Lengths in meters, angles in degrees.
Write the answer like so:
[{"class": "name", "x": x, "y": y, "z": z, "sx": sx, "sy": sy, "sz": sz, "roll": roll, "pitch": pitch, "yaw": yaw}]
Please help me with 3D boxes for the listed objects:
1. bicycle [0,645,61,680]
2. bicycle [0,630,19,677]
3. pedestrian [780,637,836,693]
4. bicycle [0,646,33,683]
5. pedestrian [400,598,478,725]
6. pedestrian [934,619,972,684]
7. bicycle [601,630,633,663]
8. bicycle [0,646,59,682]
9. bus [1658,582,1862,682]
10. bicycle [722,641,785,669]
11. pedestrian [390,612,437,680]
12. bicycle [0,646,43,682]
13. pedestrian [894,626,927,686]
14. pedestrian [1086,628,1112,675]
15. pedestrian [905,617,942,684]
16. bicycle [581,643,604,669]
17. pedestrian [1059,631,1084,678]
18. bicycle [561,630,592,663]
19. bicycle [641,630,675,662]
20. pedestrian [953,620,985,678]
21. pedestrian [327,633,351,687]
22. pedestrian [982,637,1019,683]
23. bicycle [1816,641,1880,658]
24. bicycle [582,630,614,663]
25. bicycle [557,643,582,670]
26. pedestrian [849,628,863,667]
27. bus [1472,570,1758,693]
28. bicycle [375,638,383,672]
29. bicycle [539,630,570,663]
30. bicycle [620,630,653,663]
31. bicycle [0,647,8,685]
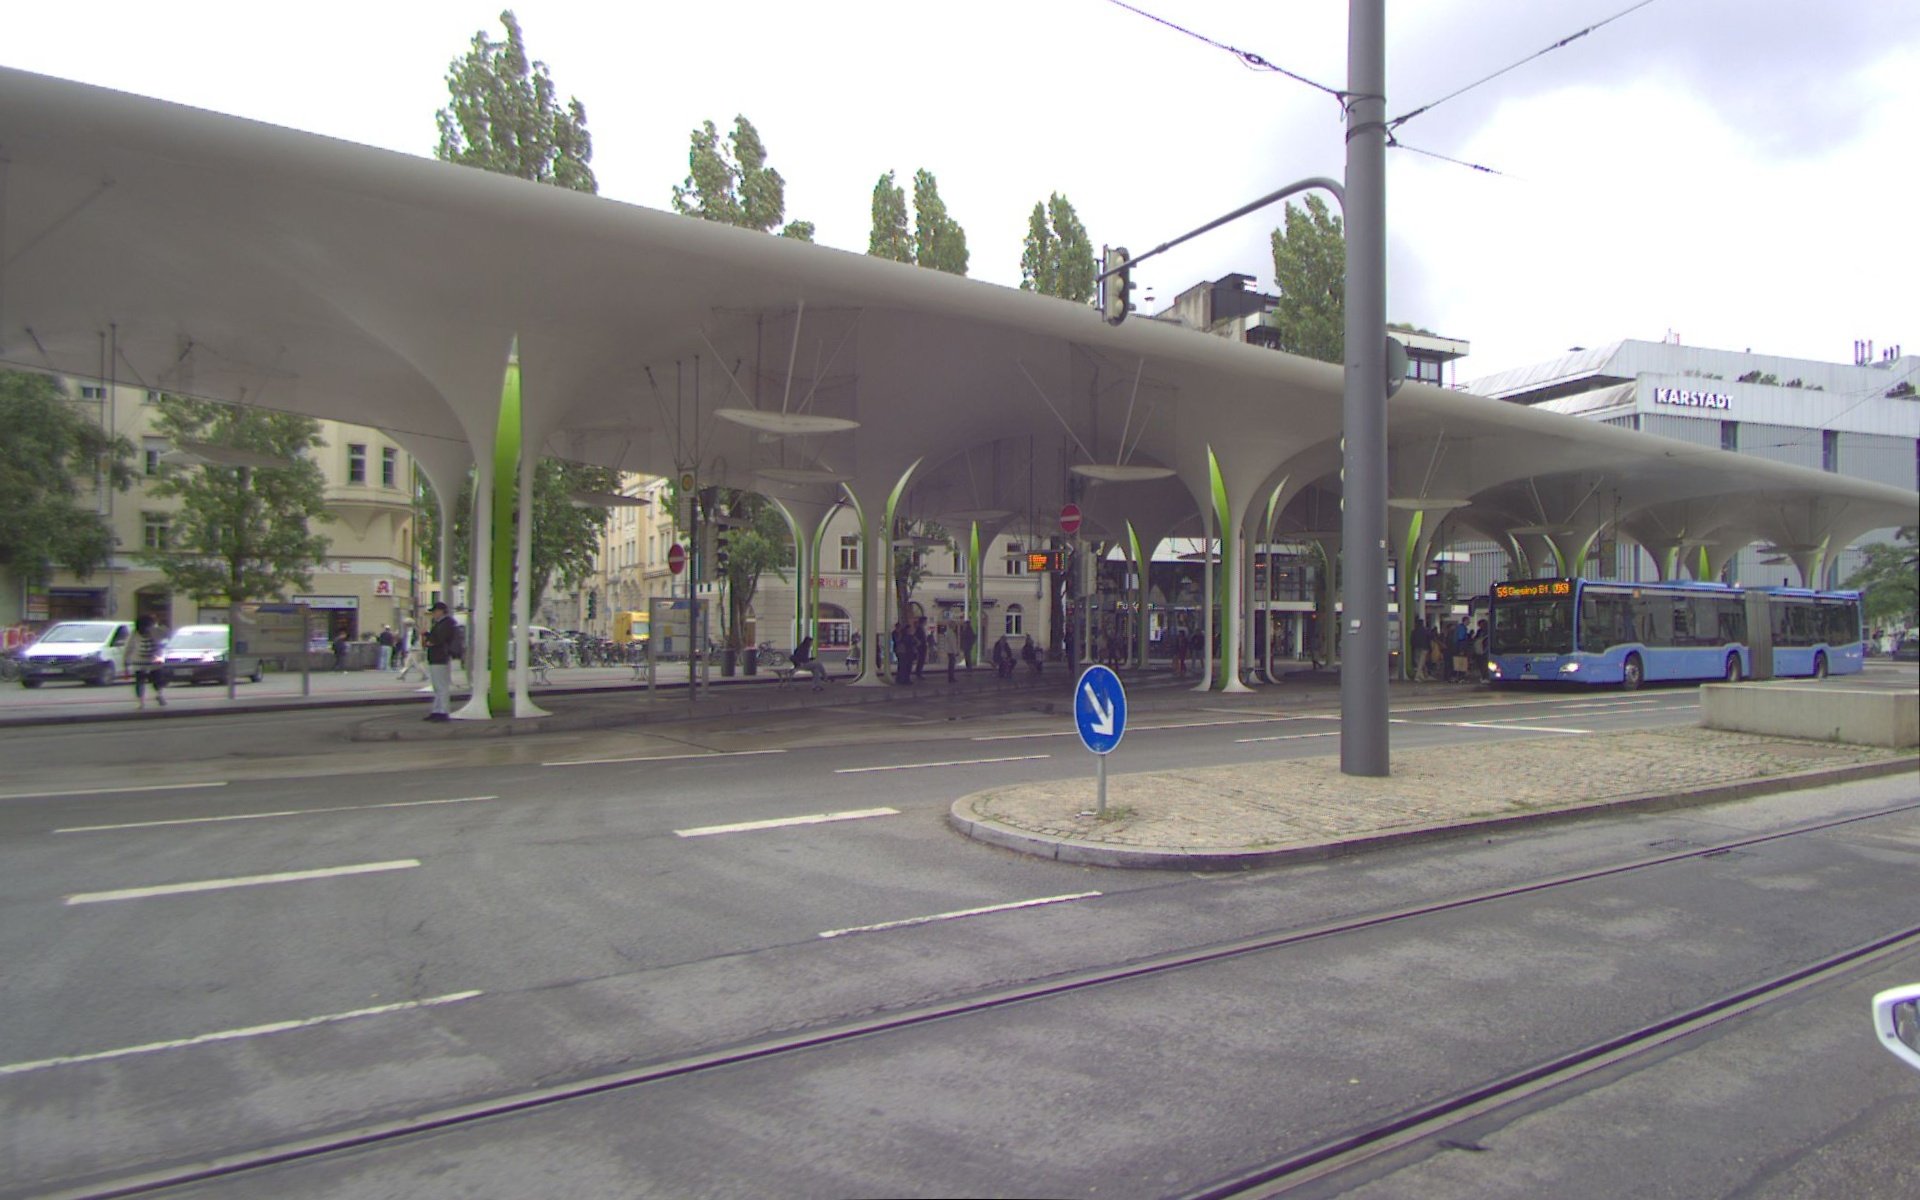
[{"class": "bicycle", "x": -32.193, "y": 2.108, "z": 33.998, "sx": 2.494, "sy": 1.145, "sz": 0.639, "roll": 1, "pitch": -1, "yaw": -30}, {"class": "bicycle", "x": -30.603, "y": 1.650, "z": 30.726, "sx": 2.533, "sy": 1.440, "sz": 0.631, "roll": 1, "pitch": -1, "yaw": -30}, {"class": "pedestrian", "x": -3.552, "y": 1.500, "z": 23.385, "sx": 1.248, "sy": 1.246, "sz": 0.811, "roll": 1, "pitch": -1, "yaw": -11}, {"class": "bicycle", "x": -30.800, "y": 2.024, "z": 31.436, "sx": 2.494, "sy": 1.145, "sz": 0.639, "roll": 1, "pitch": -1, "yaw": -30}, {"class": "pedestrian", "x": -7.883, "y": 0.911, "z": 15.206, "sx": 0.654, "sy": 1.863, "sz": 0.809, "roll": 0, "pitch": -1, "yaw": 31}, {"class": "pedestrian", "x": -0.179, "y": 1.398, "z": 27.383, "sx": 0.799, "sy": 1.750, "sz": 0.668, "roll": -1, "pitch": -2, "yaw": 44}, {"class": "bicycle", "x": -18.146, "y": 2.435, "z": 53.085, "sx": 0.989, "sy": 1.634, "sz": 3.598, "roll": 1, "pitch": -2, "yaw": -29}, {"class": "bicycle", "x": -31.506, "y": 2.107, "z": 33.164, "sx": 2.494, "sy": 1.145, "sz": 0.639, "roll": 1, "pitch": -2, "yaw": -30}, {"class": "bus", "x": 26.711, "y": 1.099, "z": 33.469, "sx": 7.422, "sy": 3.046, "sz": 2.649, "roll": 1, "pitch": -3, "yaw": -29}, {"class": "bicycle", "x": -9.838, "y": 2.621, "z": 47.974, "sx": 2.886, "sy": 1.331, "sz": 0.841, "roll": 0, "pitch": -1, "yaw": -6}, {"class": "pedestrian", "x": -16.603, "y": 1.387, "z": 30.530, "sx": 1.010, "sy": 2.040, "sz": 1.002, "roll": 1, "pitch": -1, "yaw": -14}, {"class": "bicycle", "x": -31.119, "y": 2.052, "z": 32.171, "sx": 2.494, "sy": 1.145, "sz": 0.639, "roll": 1, "pitch": -2, "yaw": -30}, {"class": "pedestrian", "x": -1.319, "y": 1.469, "z": 26.682, "sx": 0.586, "sy": 1.565, "sz": 0.634, "roll": -1, "pitch": -2, "yaw": 43}, {"class": "pedestrian", "x": 4.887, "y": 1.812, "z": 35.280, "sx": 0.690, "sy": 1.639, "sz": 0.644, "roll": 1, "pitch": -2, "yaw": -26}, {"class": "pedestrian", "x": -1.064, "y": 1.446, "z": 29.118, "sx": 0.701, "sy": 1.897, "sz": 0.876, "roll": 0, "pitch": -1, "yaw": 33}, {"class": "bicycle", "x": -17.344, "y": 2.646, "z": 47.418, "sx": 0.726, "sy": 1.149, "sz": 2.677, "roll": 1, "pitch": -1, "yaw": -14}, {"class": "pedestrian", "x": 3.829, "y": 1.868, "z": 34.430, "sx": 0.652, "sy": 1.585, "sz": 0.640, "roll": -1, "pitch": -2, "yaw": 35}, {"class": "bicycle", "x": -19.922, "y": 2.398, "z": 52.179, "sx": 0.989, "sy": 1.634, "sz": 3.598, "roll": 1, "pitch": -2, "yaw": -29}, {"class": "bicycle", "x": -16.310, "y": 2.472, "z": 54.120, "sx": 0.989, "sy": 1.634, "sz": 3.598, "roll": 1, "pitch": -2, "yaw": -29}, {"class": "pedestrian", "x": 0.276, "y": 1.569, "z": 32.278, "sx": 0.772, "sy": 1.812, "sz": 0.760, "roll": 1, "pitch": -1, "yaw": -27}, {"class": "pedestrian", "x": -23.714, "y": 2.279, "z": 38.333, "sx": 0.686, "sy": 2.040, "sz": 0.692, "roll": 1, "pitch": -1, "yaw": -37}, {"class": "pedestrian", "x": 1.245, "y": 1.834, "z": 31.082, "sx": 0.829, "sy": 1.388, "sz": 0.961, "roll": 1, "pitch": -1, "yaw": -23}, {"class": "bicycle", "x": 64.315, "y": 3.557, "z": 72.814, "sx": 1.042, "sy": 1.172, "sz": 3.493, "roll": 1, "pitch": -2, "yaw": -16}, {"class": "bicycle", "x": -19.021, "y": 2.416, "z": 52.684, "sx": 0.989, "sy": 1.634, "sz": 3.598, "roll": 1, "pitch": -2, "yaw": -29}, {"class": "bicycle", "x": -18.256, "y": 2.627, "z": 47.010, "sx": 0.726, "sy": 1.149, "sz": 2.677, "roll": 1, "pitch": -1, "yaw": -14}, {"class": "pedestrian", "x": -4.885, "y": 2.212, "z": 47.181, "sx": 0.546, "sy": 1.838, "sz": 0.556, "roll": 1, "pitch": -1, "yaw": -18}, {"class": "bus", "x": 19.072, "y": 0.945, "z": 28.920, "sx": 10.397, "sy": 3.046, "sz": 2.647, "roll": 1, "pitch": -3, "yaw": -32}, {"class": "bicycle", "x": -25.781, "y": 2.446, "z": 44.574, "sx": 0.292, "sy": 1.416, "sz": 1.131, "roll": 1, "pitch": 1, "yaw": -31}, {"class": "bicycle", "x": -20.889, "y": 2.378, "z": 51.701, "sx": 0.989, "sy": 1.634, "sz": 3.598, "roll": 1, "pitch": -2, "yaw": -29}, {"class": "bicycle", "x": -17.295, "y": 2.452, "z": 53.629, "sx": 0.989, "sy": 1.634, "sz": 3.598, "roll": 1, "pitch": -2, "yaw": -29}, {"class": "bicycle", "x": -30.338, "y": 1.989, "z": 30.118, "sx": 2.494, "sy": 1.145, "sz": 0.639, "roll": 1, "pitch": -1, "yaw": -30}]
